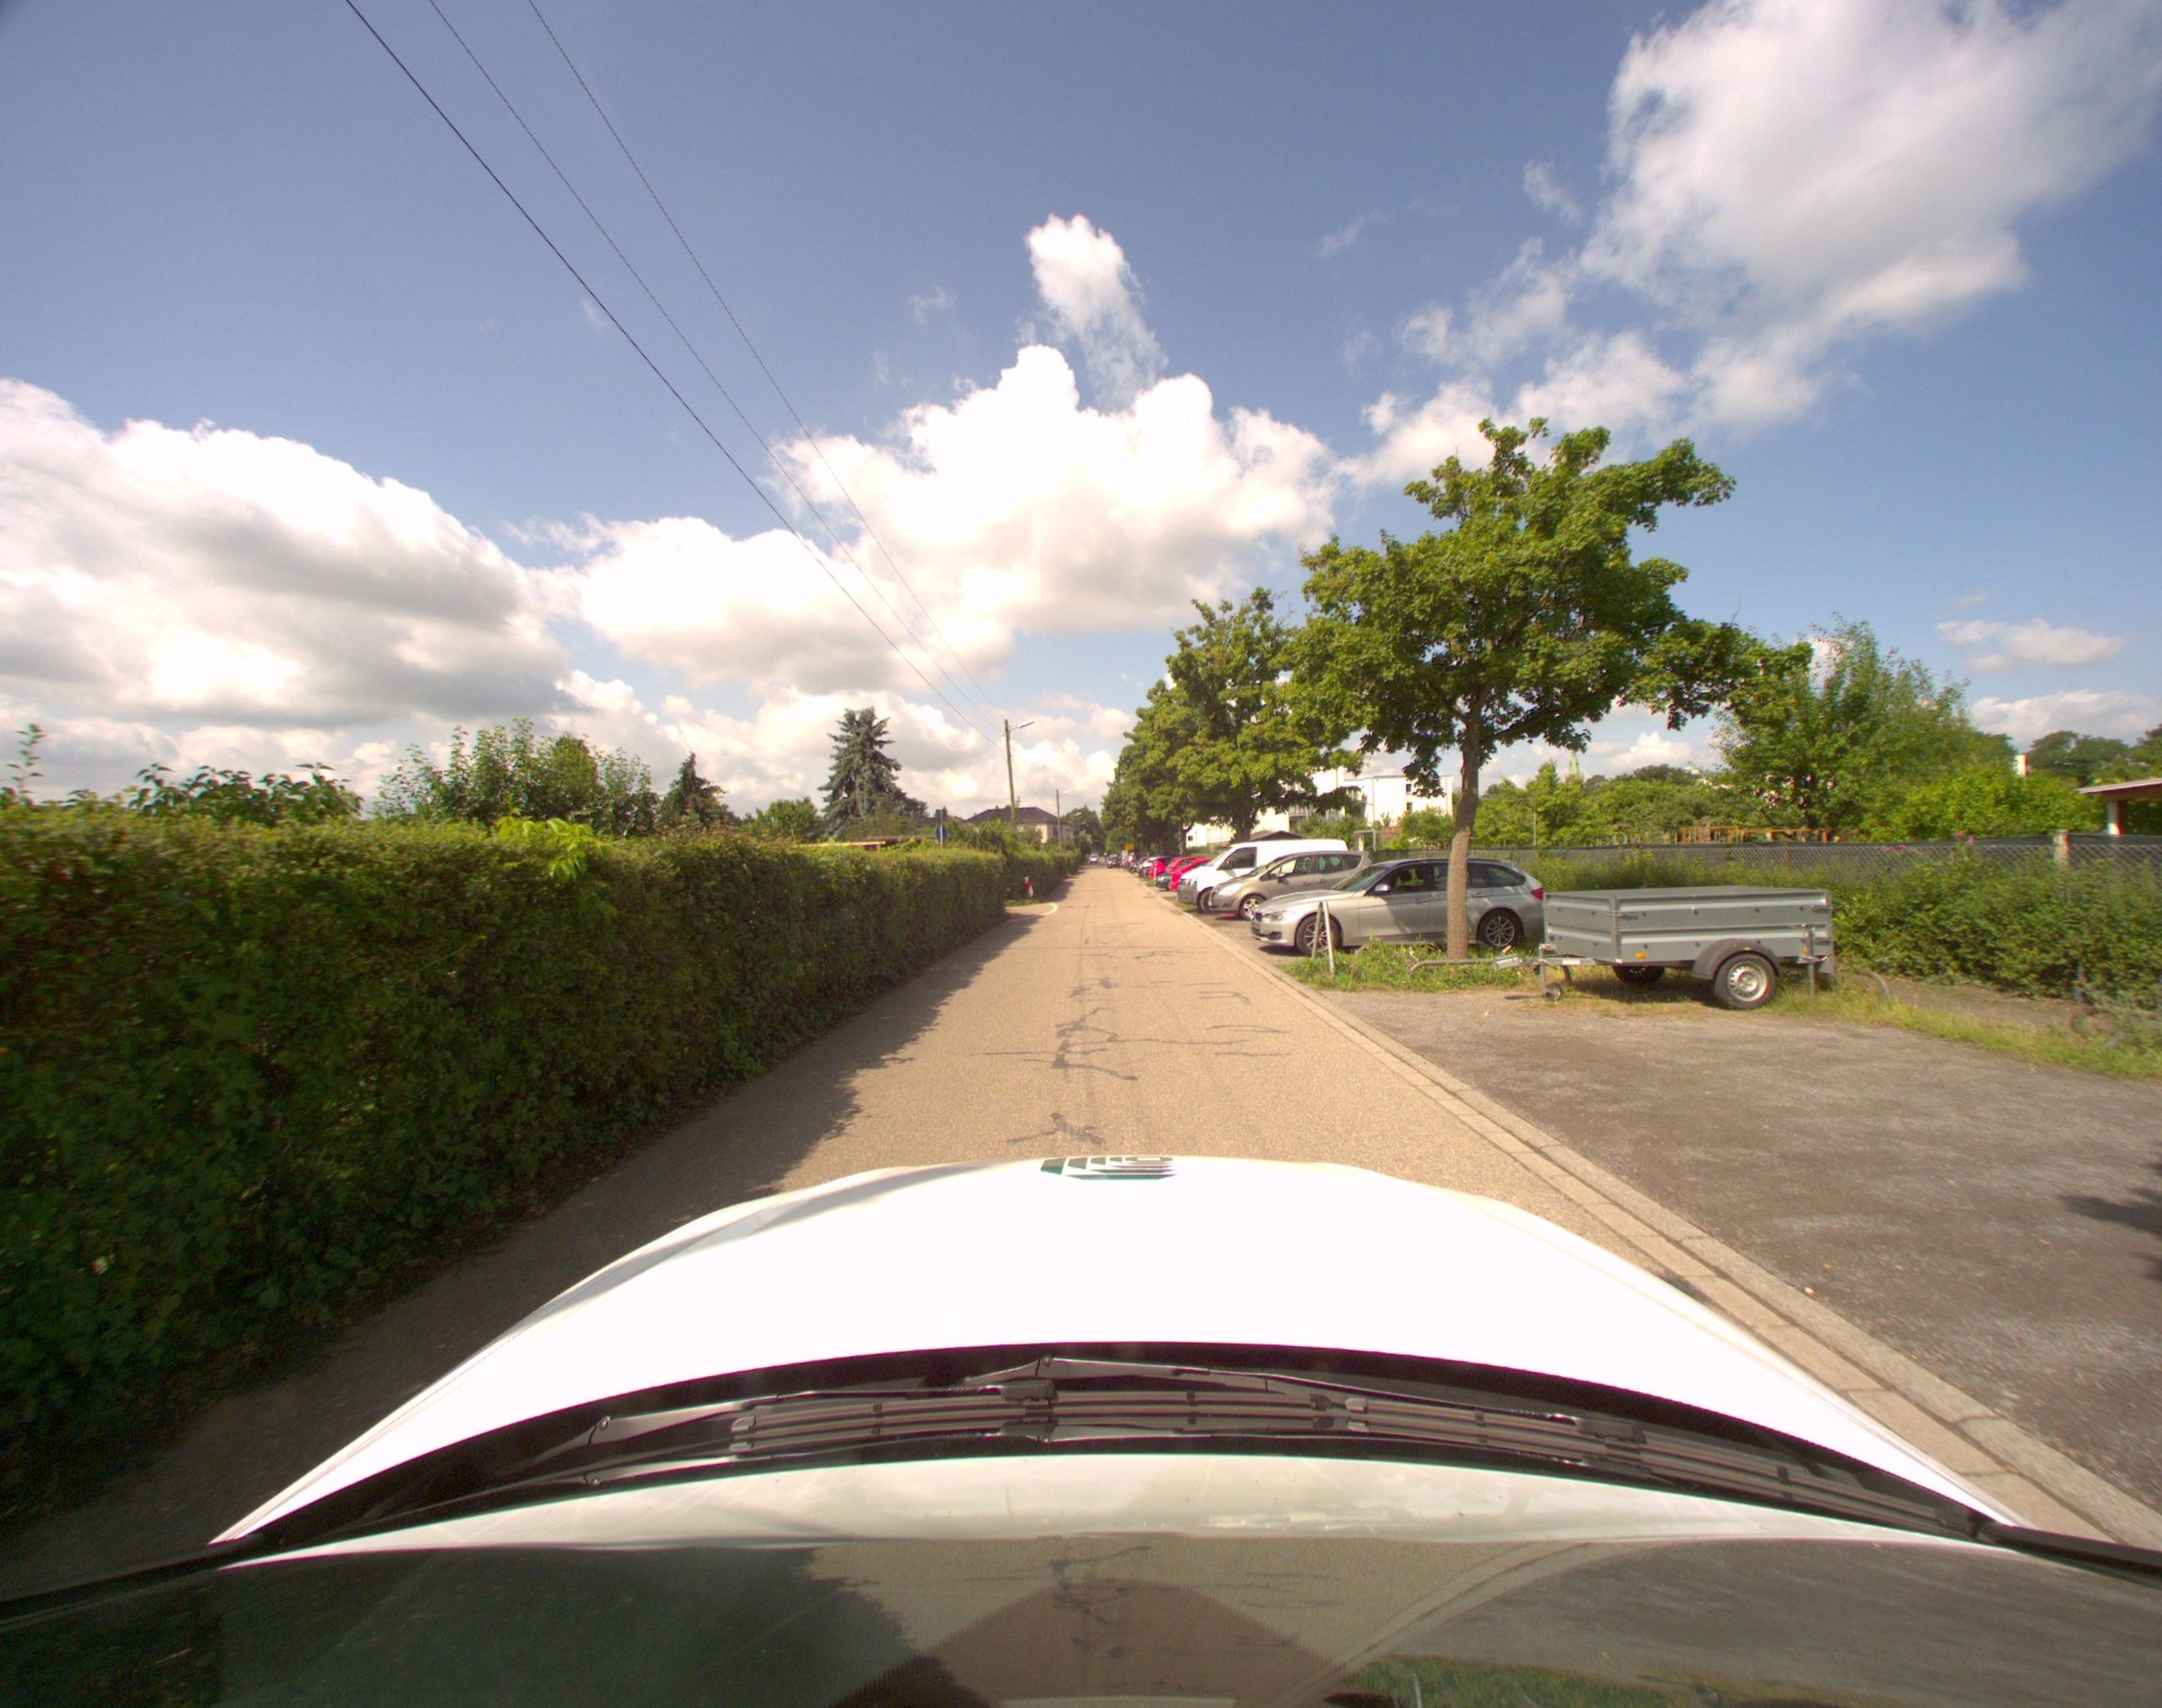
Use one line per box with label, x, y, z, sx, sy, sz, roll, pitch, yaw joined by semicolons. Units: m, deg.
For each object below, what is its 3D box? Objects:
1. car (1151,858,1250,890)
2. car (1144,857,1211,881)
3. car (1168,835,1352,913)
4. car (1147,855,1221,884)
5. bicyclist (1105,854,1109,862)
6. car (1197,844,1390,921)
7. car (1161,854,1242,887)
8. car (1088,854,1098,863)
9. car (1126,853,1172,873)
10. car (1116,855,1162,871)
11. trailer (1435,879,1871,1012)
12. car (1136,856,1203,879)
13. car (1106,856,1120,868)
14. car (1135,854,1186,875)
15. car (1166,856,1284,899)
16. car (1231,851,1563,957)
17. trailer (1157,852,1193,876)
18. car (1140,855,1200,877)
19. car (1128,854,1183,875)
car;5.485;0.919;37.696;4.228;1.428;1.906;0;-1;-3
car;5.716;0.900;48.737;3.893;1.424;1.960;0;-1;4
car;4.901;0.536;22.830;4.620;1.886;2.111;-3;0;-1
car;5.683;0.862;45.222;3.968;1.519;1.856;0;-1;4
bicyclist;5.736;0.873;181.120;0.656;1.852;1.044;-3;-1;4
car;5.110;0.670;20.081;4.228;1.592;2.001;-3;0;1
car;5.938;0.800;40.416;3.751;1.574;1.870;0;-1;0
car;2.651;1.006;175.891;1.894;1.814;4.004;0;-1;4
car;6.289;0.831;75.772;4.140;1.637;1.879;-2;-1;1
car;5.872;0.872;82.420;4.534;1.578;1.808;0;-1;0
trailer;5.611;0.859;8.379;3.089;1.142;2.001;0;-1;1
car;5.589;0.862;51.908;4.054;1.455;1.869;0;-1;-1
car;4.241;1.013;107.262;1.655;1.506;4.007;0;-1;6
car;6.097;0.820;62.593;3.714;1.540;1.848;0;-1;-2
car;5.319;0.863;30.474;4.167;1.504;1.879;0;-1;2
car;4.910;0.739;13.124;4.566;1.466;1.998;-1;0;-2
trailer;6.899;0.709;59.695;2.444;1.720;1.517;0;0;-3
car;6.035;0.816;55.509;4.046;1.511;1.960;0;-1;4
car;5.909;0.854;65.179;4.287;1.594;2.000;0;-1;0
